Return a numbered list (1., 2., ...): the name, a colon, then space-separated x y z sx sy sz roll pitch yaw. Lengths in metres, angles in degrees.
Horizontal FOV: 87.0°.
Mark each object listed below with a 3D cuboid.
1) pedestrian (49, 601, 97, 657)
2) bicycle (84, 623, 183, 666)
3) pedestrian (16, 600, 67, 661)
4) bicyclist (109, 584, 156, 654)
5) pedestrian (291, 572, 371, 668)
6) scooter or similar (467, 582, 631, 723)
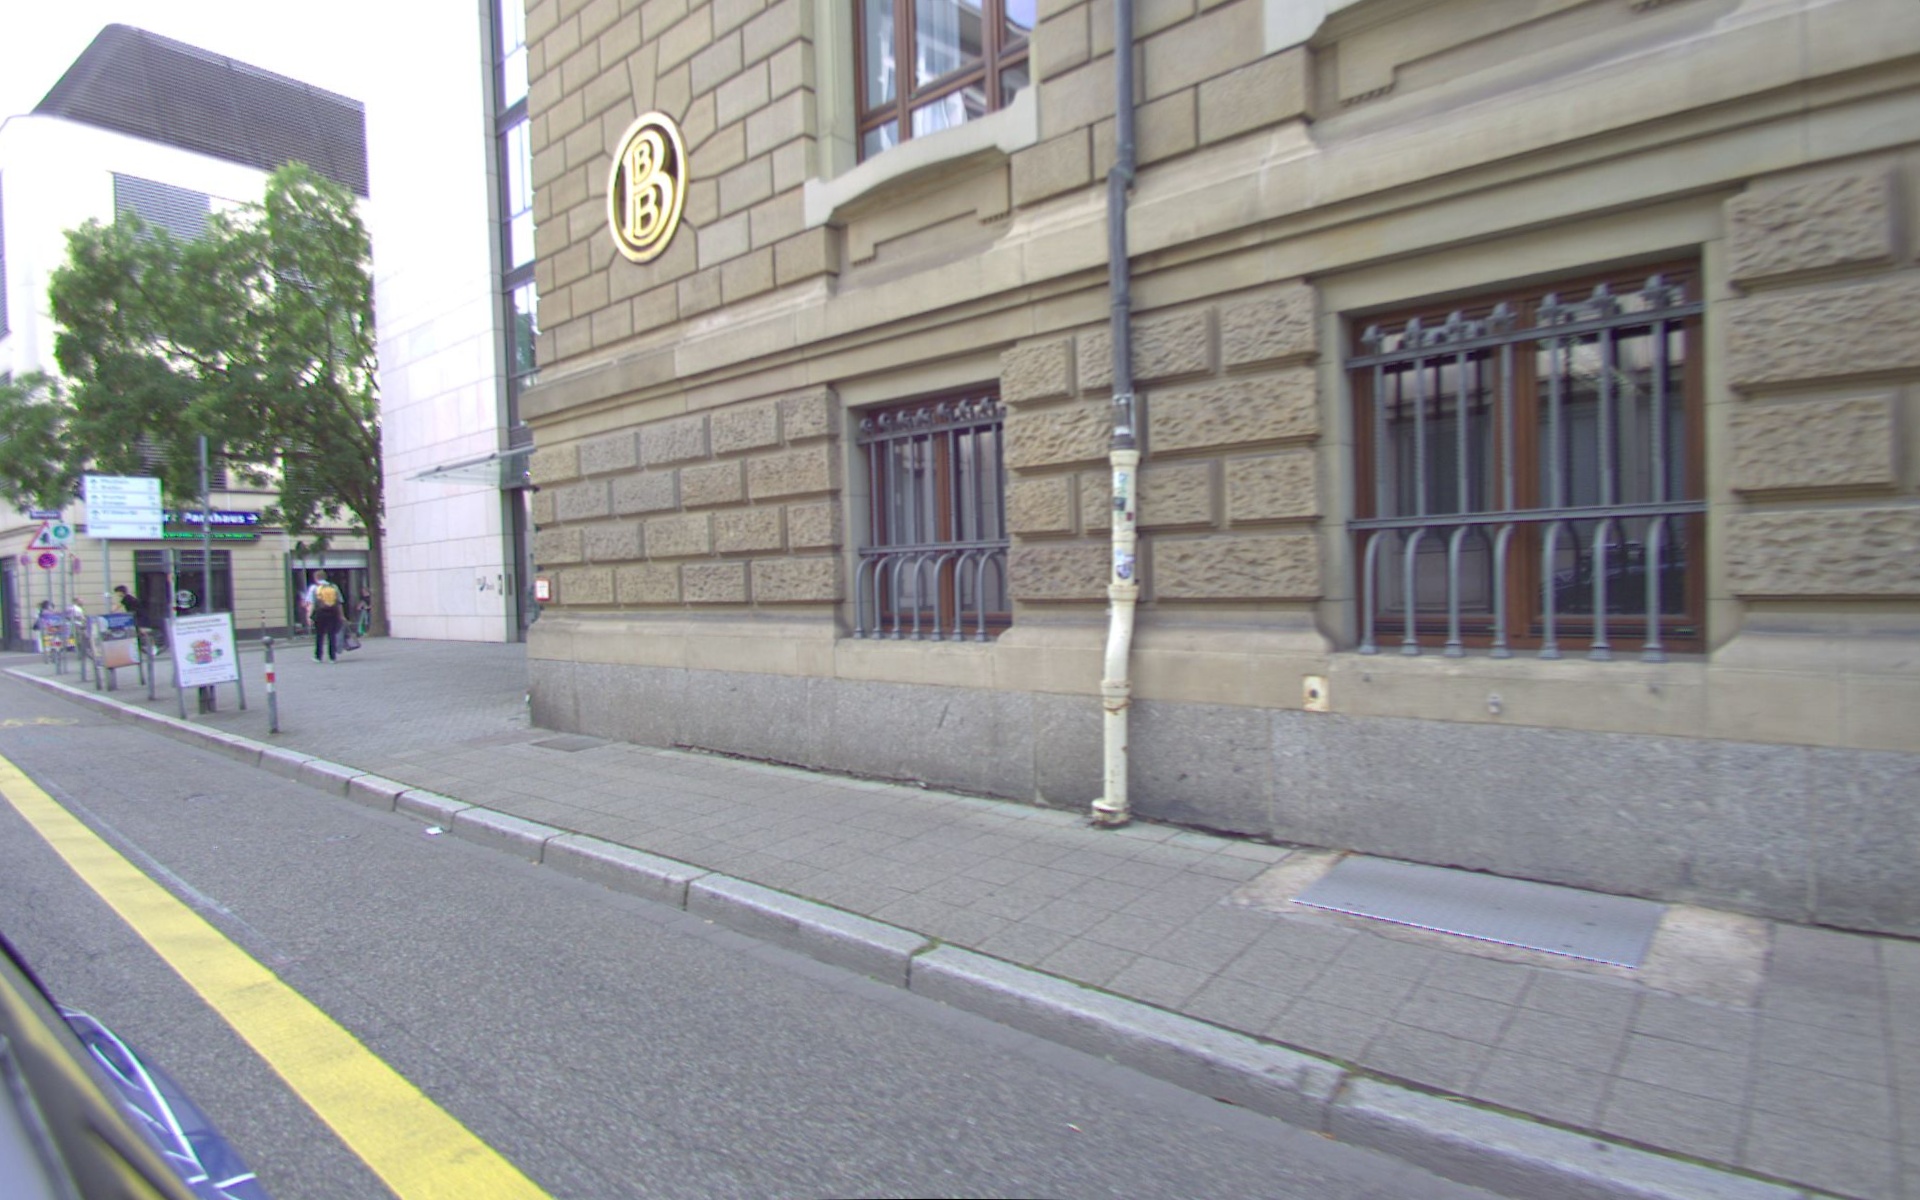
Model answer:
1. pedestrian: -30.007 0.965 34.255 1.044 1.777 0.894 -7 5 -39
2. bicycle: -20.114 1.072 24.668 1.696 0.840 0.603 -6 2 -25
3. pedestrian: -27.445 0.887 30.241 0.909 1.721 0.868 0 5 40
4. bicyclist: -20.138 0.451 24.648 0.633 1.631 0.625 -5 2 -26
5. pedestrian: -12.090 0.365 19.458 0.818 1.732 1.015 -1 3 41
6. scooter or similar: -4.384 0.527 10.877 0.586 1.320 1.432 -2 3 40
